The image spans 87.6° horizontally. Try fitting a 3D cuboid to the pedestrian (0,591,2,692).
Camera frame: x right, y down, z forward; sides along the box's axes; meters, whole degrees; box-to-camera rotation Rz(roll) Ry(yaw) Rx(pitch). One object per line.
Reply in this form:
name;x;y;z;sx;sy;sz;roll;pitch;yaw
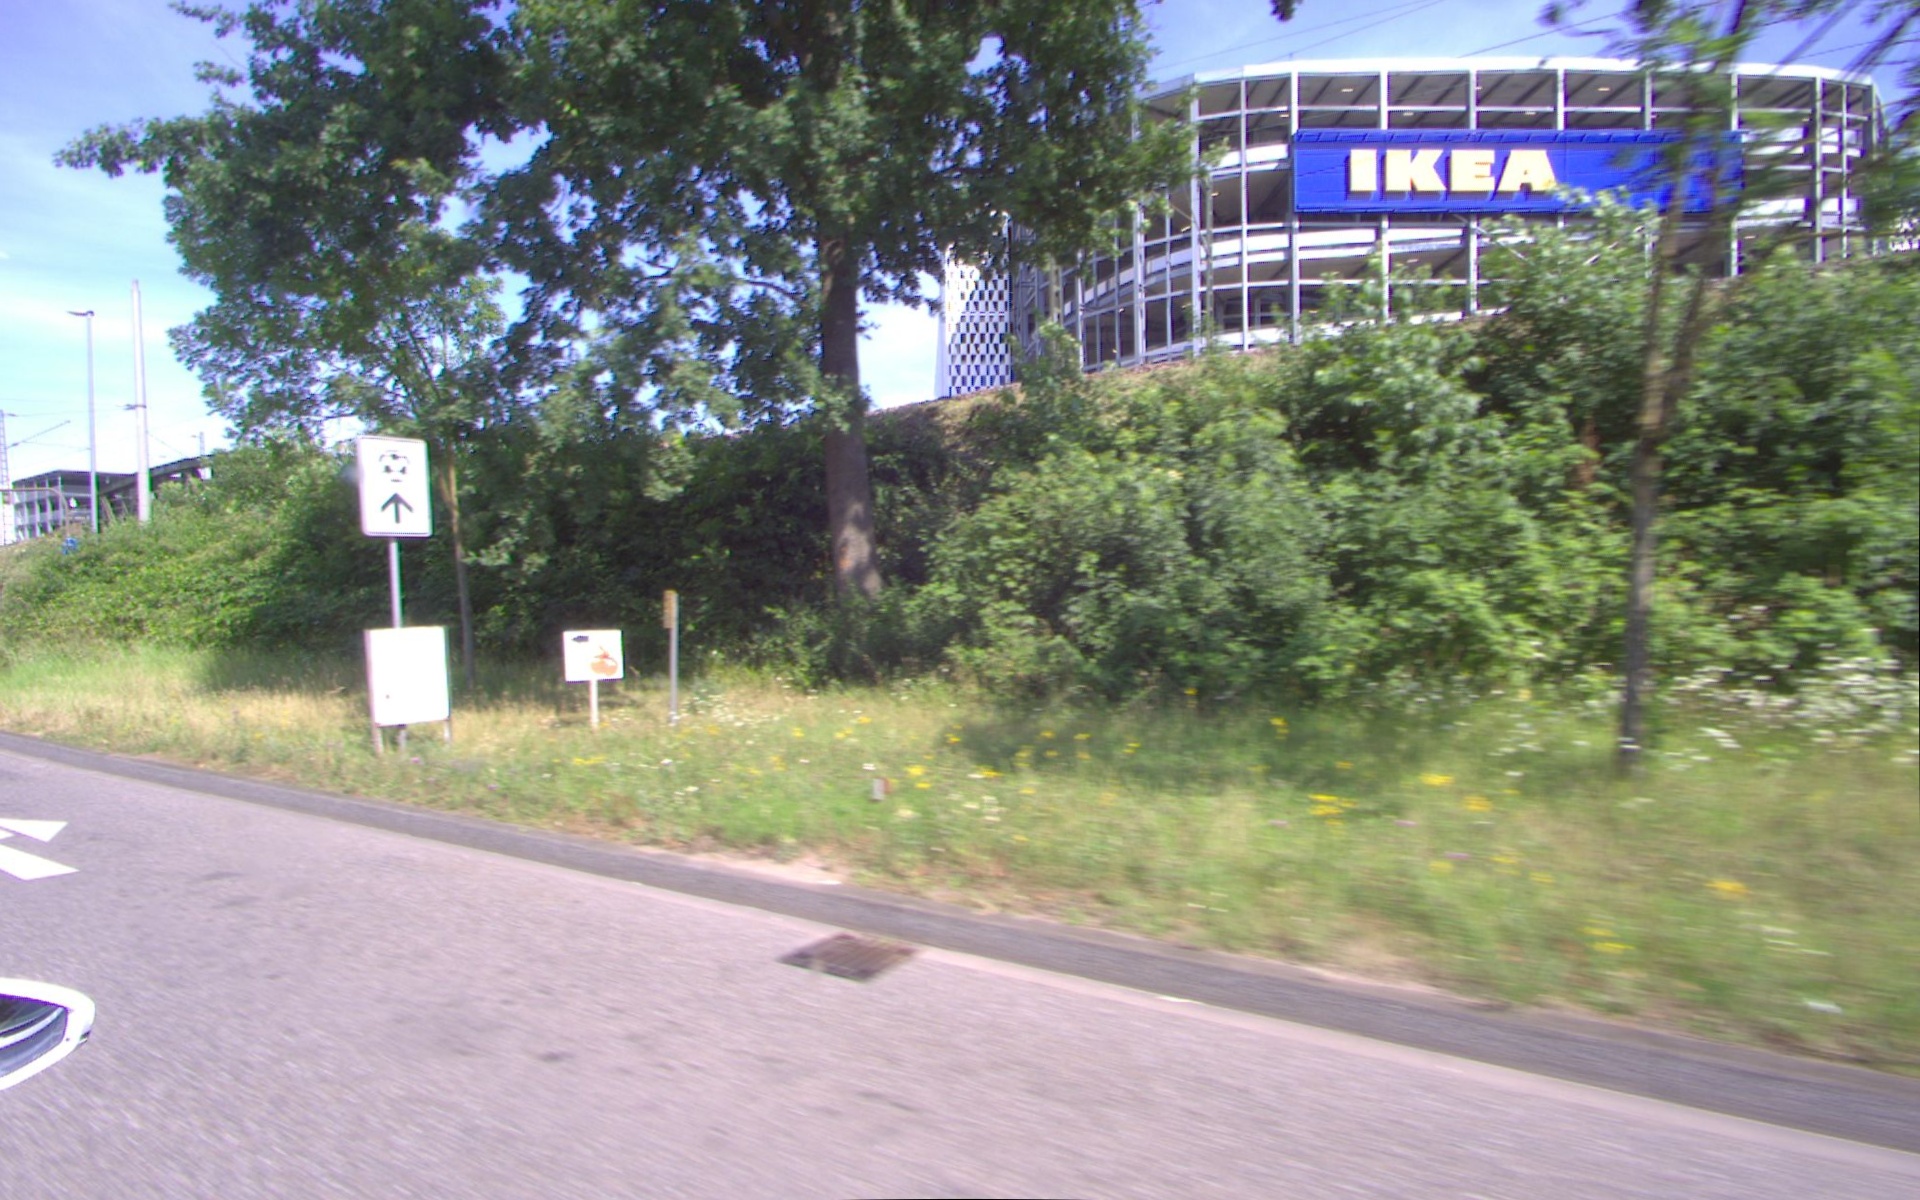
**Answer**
pedestrian;-18.997;0.788;19.121;0.759;1.959;0.837;2;2;29
